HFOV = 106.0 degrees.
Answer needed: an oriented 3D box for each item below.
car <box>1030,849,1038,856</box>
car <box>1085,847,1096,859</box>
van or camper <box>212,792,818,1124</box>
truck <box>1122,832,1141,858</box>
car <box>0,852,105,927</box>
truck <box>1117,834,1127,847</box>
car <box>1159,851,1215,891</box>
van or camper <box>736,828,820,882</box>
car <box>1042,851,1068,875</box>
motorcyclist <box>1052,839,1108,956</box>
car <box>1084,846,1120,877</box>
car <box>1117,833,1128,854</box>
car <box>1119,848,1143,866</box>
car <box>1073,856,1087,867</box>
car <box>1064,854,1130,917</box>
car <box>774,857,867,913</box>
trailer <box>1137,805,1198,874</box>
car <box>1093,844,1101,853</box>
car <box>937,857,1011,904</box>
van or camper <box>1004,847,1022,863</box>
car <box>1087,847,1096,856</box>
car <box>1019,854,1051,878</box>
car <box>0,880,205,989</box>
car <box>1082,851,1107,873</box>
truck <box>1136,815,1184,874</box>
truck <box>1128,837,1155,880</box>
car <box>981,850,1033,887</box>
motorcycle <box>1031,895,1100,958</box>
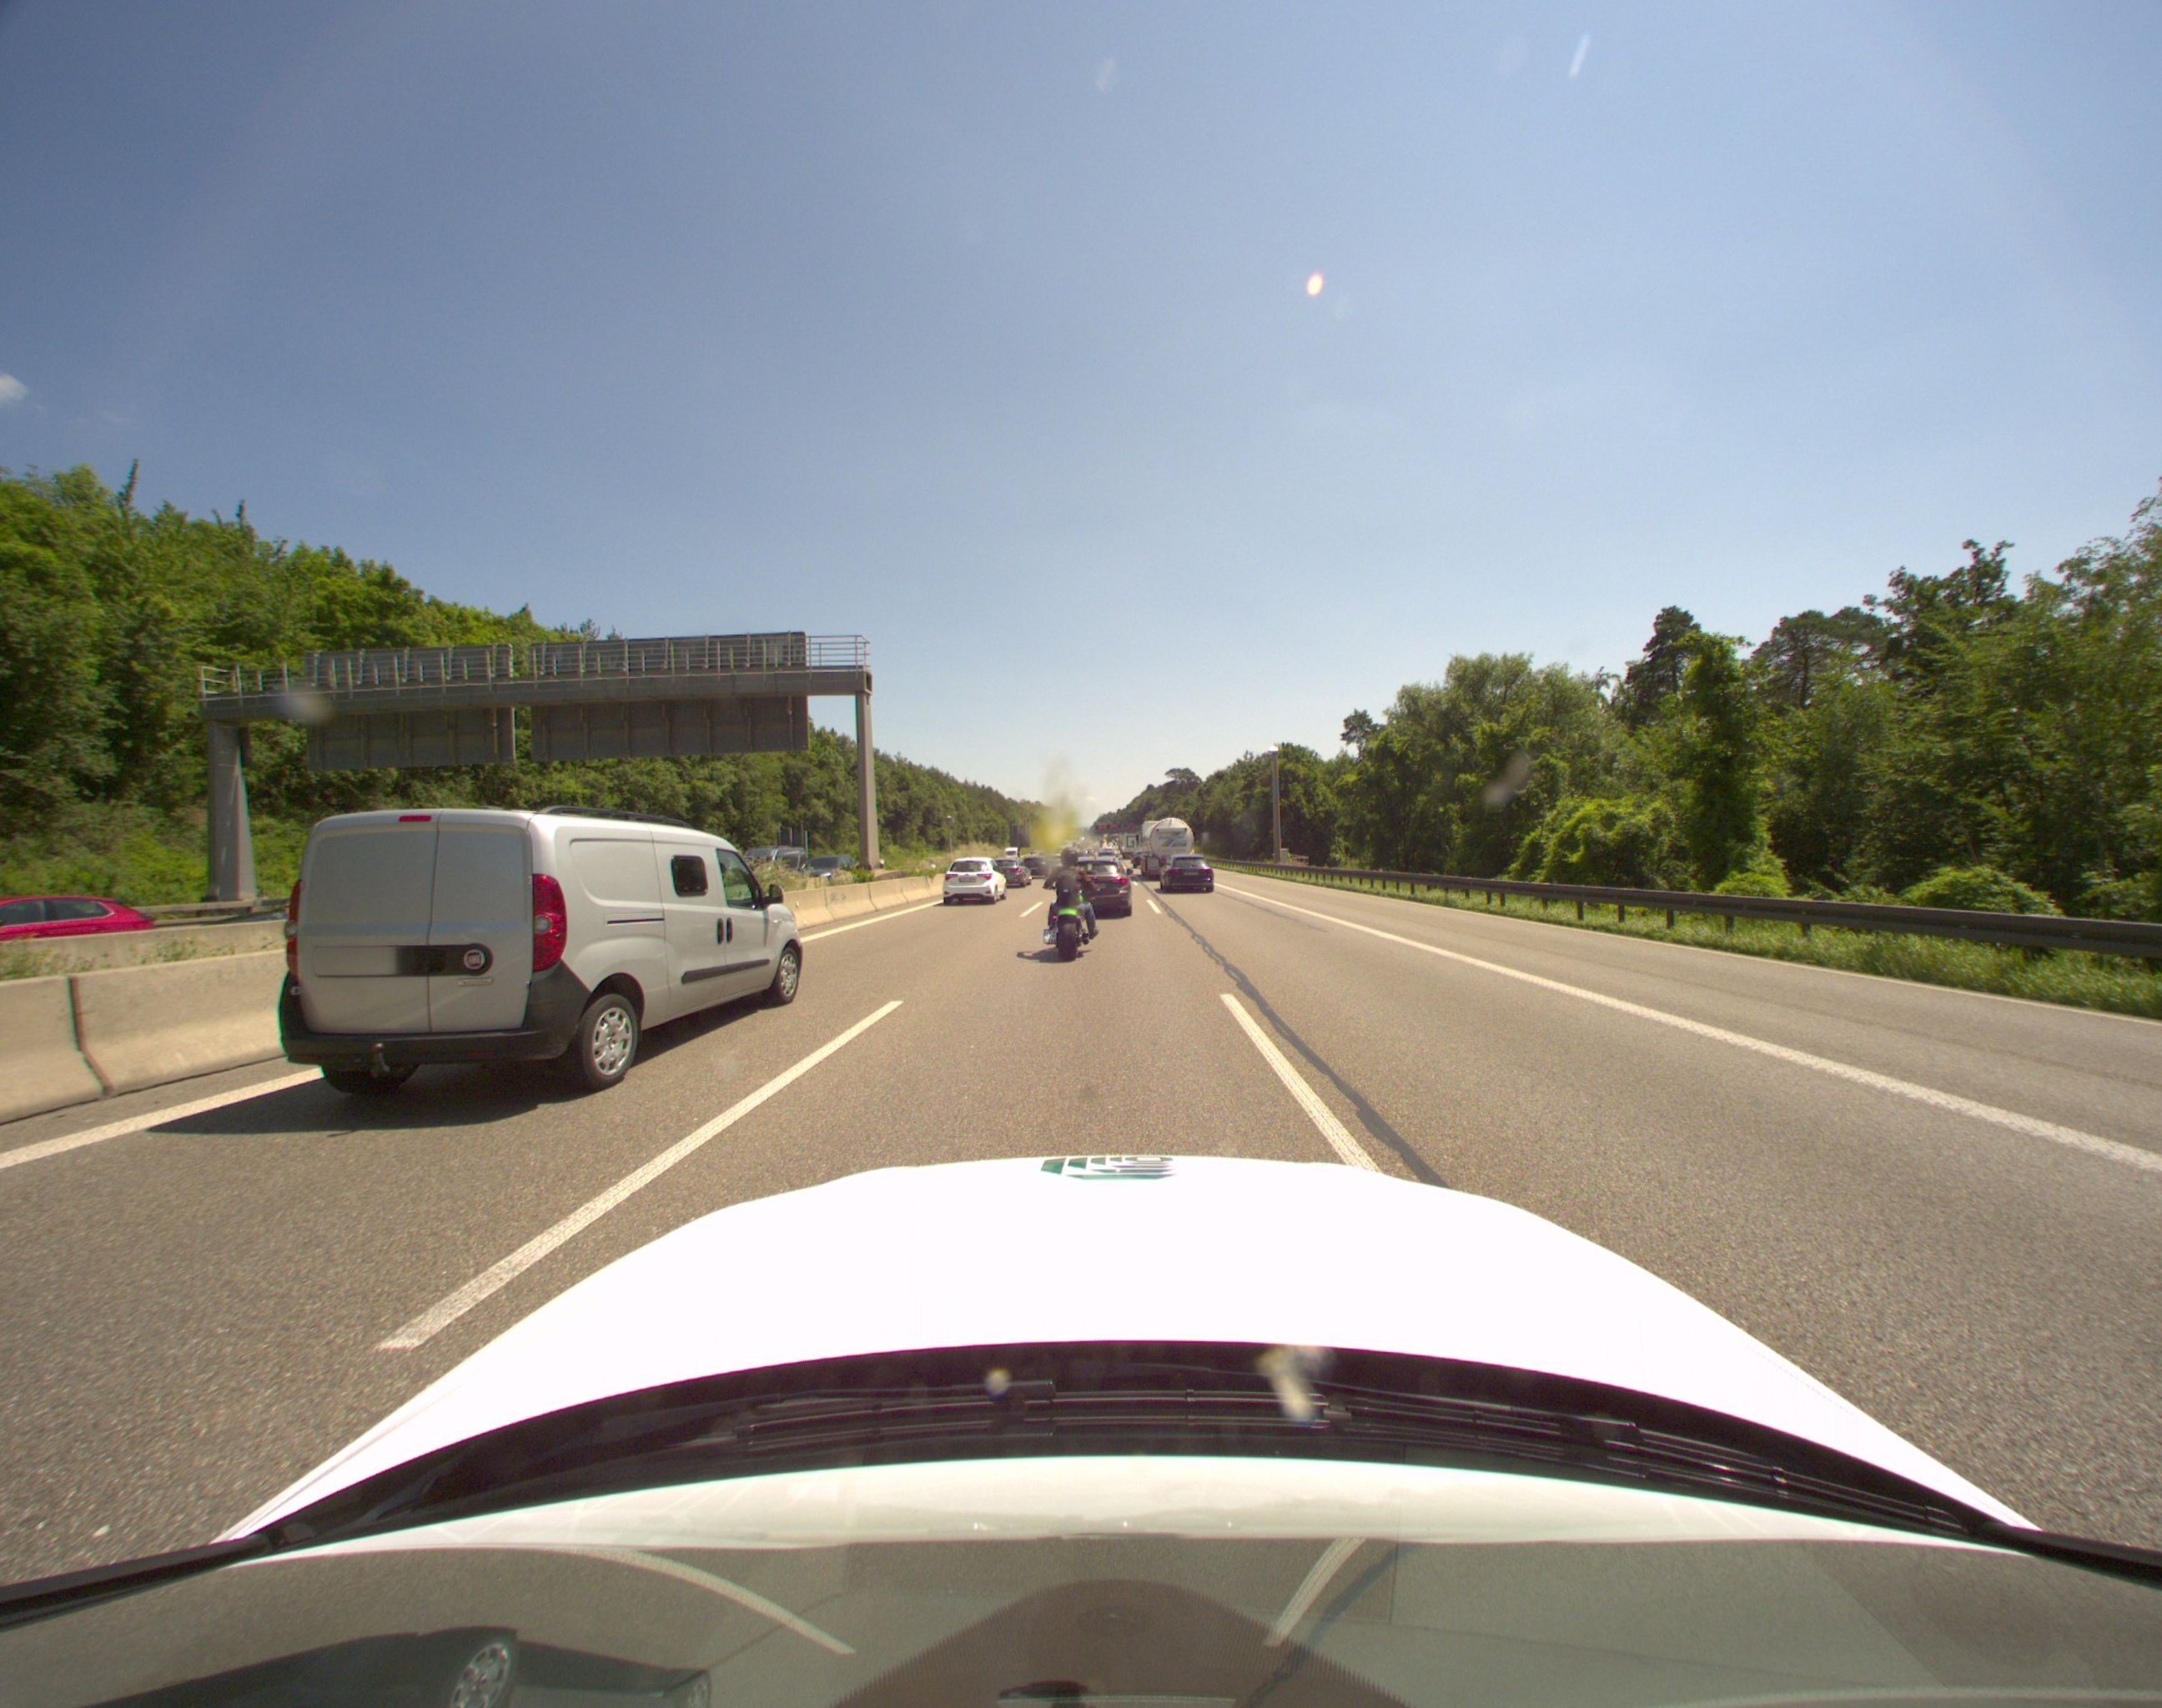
[{"bbox_3d":[-13.546,-0.377,237.196,1.986,2.013,4.001,-1,0,1],"label":"car"},{"bbox_3d":[1.592,-0.173,136.148,1.654,1.978,4.002,-1,-1,3],"label":"car"},{"bbox_3d":[-3.981,0.594,6.939,1.846,1.880,4.563,-1,0,2],"label":"van or camper"},{"bbox_3d":[8.023,-1.422,129.480,2.840,3.821,7.196,-1,-1,5],"label":"truck"},{"bbox_3d":[-30.343,0.981,22.180,2.115,2.014,4.366,-1,-1,2],"label":"car"},{"bbox_3d":[11.954,-3.756,237.027,2.686,3.405,10.483,-2,-1,2],"label":"truck"},{"bbox_3d":[4.152,0.677,32.442,1.785,1.458,4.626,-1,-1,2],"label":"car"},{"bbox_3d":[-17.071,0.130,46.351,2.146,2.859,6.654,-1,-1,1],"label":"van or camper"},{"bbox_3d":[-2.190,0.796,70.052,1.986,2.014,4.001,-1,-1,1],"label":"car"},{"bbox_3d":[0.006,0.648,12.350,0.796,1.688,1.017,-1,-2,2],"label":"motorcyclist"},{"bbox_3d":[1.204,0.473,47.246,1.986,1.711,4.000,-1,-1,1],"label":"car"},{"bbox_3d":[8.604,-2.113,168.306,2.159,3.893,9.333,-1,-1,2],"label":"car"},{"bbox_3d":[4.553,0.325,74.765,1.771,1.527,3.996,-1,-1,-2],"label":"car"},{"bbox_3d":[-0.089,1.015,113.877,1.757,1.442,4.003,-1,0,3],"label":"car"},{"bbox_3d":[0.457,0.755,21.032,1.535,1.450,4.002,-1,-1,2],"label":"car"},{"bbox_3d":[-10.252,1.191,32.523,1.987,2.014,5.154,-1,-1,1],"label":"car"},{"bbox_3d":[4.950,-0.656,48.570,2.817,3.671,10.736,-1,-1,2],"label":"trailer"},{"bbox_3d":[4.148,-1.424,210.983,1.986,2.014,4.002,-2,-1,2],"label":"car"},{"bbox_3d":[-3.469,0.822,27.154,1.769,1.411,4.002,-1,0,2],"label":"car"},{"bbox_3d":[-10.692,0.139,128.466,2.144,2.423,6.198,-1,-1,2],"label":"van or camper"},{"bbox_3d":[2.042,-0.384,155.872,1.654,1.599,4.002,-1,-1,3],"label":"car"},{"bbox_3d":[-2.906,0.772,51.940,1.989,1.464,3.995,-1,-1,-3],"label":"car"},{"bbox_3d":[-18.105,1.322,13.594,1.986,1.692,4.514,-1,-1,1],"label":"car"},{"bbox_3d":[1.128,0.721,68.098,1.986,1.775,4.000,-1,-1,1],"label":"car"},{"bbox_3d":[5.169,-0.517,54.449,2.817,3.671,6.432,-1,-1,2],"label":"truck"},{"bbox_3d":[6.698,0.429,90.894,2.380,4.464,10.871,-1,0,1],"label":"truck"},{"bbox_3d":[-3.515,0.711,39.503,1.986,1.684,4.332,-1,-1,2],"label":"car"},{"bbox_3d":[-0.193,1.080,12.684,0.932,0.793,2.300,-1,-1,2],"label":"motorcycle"}]
